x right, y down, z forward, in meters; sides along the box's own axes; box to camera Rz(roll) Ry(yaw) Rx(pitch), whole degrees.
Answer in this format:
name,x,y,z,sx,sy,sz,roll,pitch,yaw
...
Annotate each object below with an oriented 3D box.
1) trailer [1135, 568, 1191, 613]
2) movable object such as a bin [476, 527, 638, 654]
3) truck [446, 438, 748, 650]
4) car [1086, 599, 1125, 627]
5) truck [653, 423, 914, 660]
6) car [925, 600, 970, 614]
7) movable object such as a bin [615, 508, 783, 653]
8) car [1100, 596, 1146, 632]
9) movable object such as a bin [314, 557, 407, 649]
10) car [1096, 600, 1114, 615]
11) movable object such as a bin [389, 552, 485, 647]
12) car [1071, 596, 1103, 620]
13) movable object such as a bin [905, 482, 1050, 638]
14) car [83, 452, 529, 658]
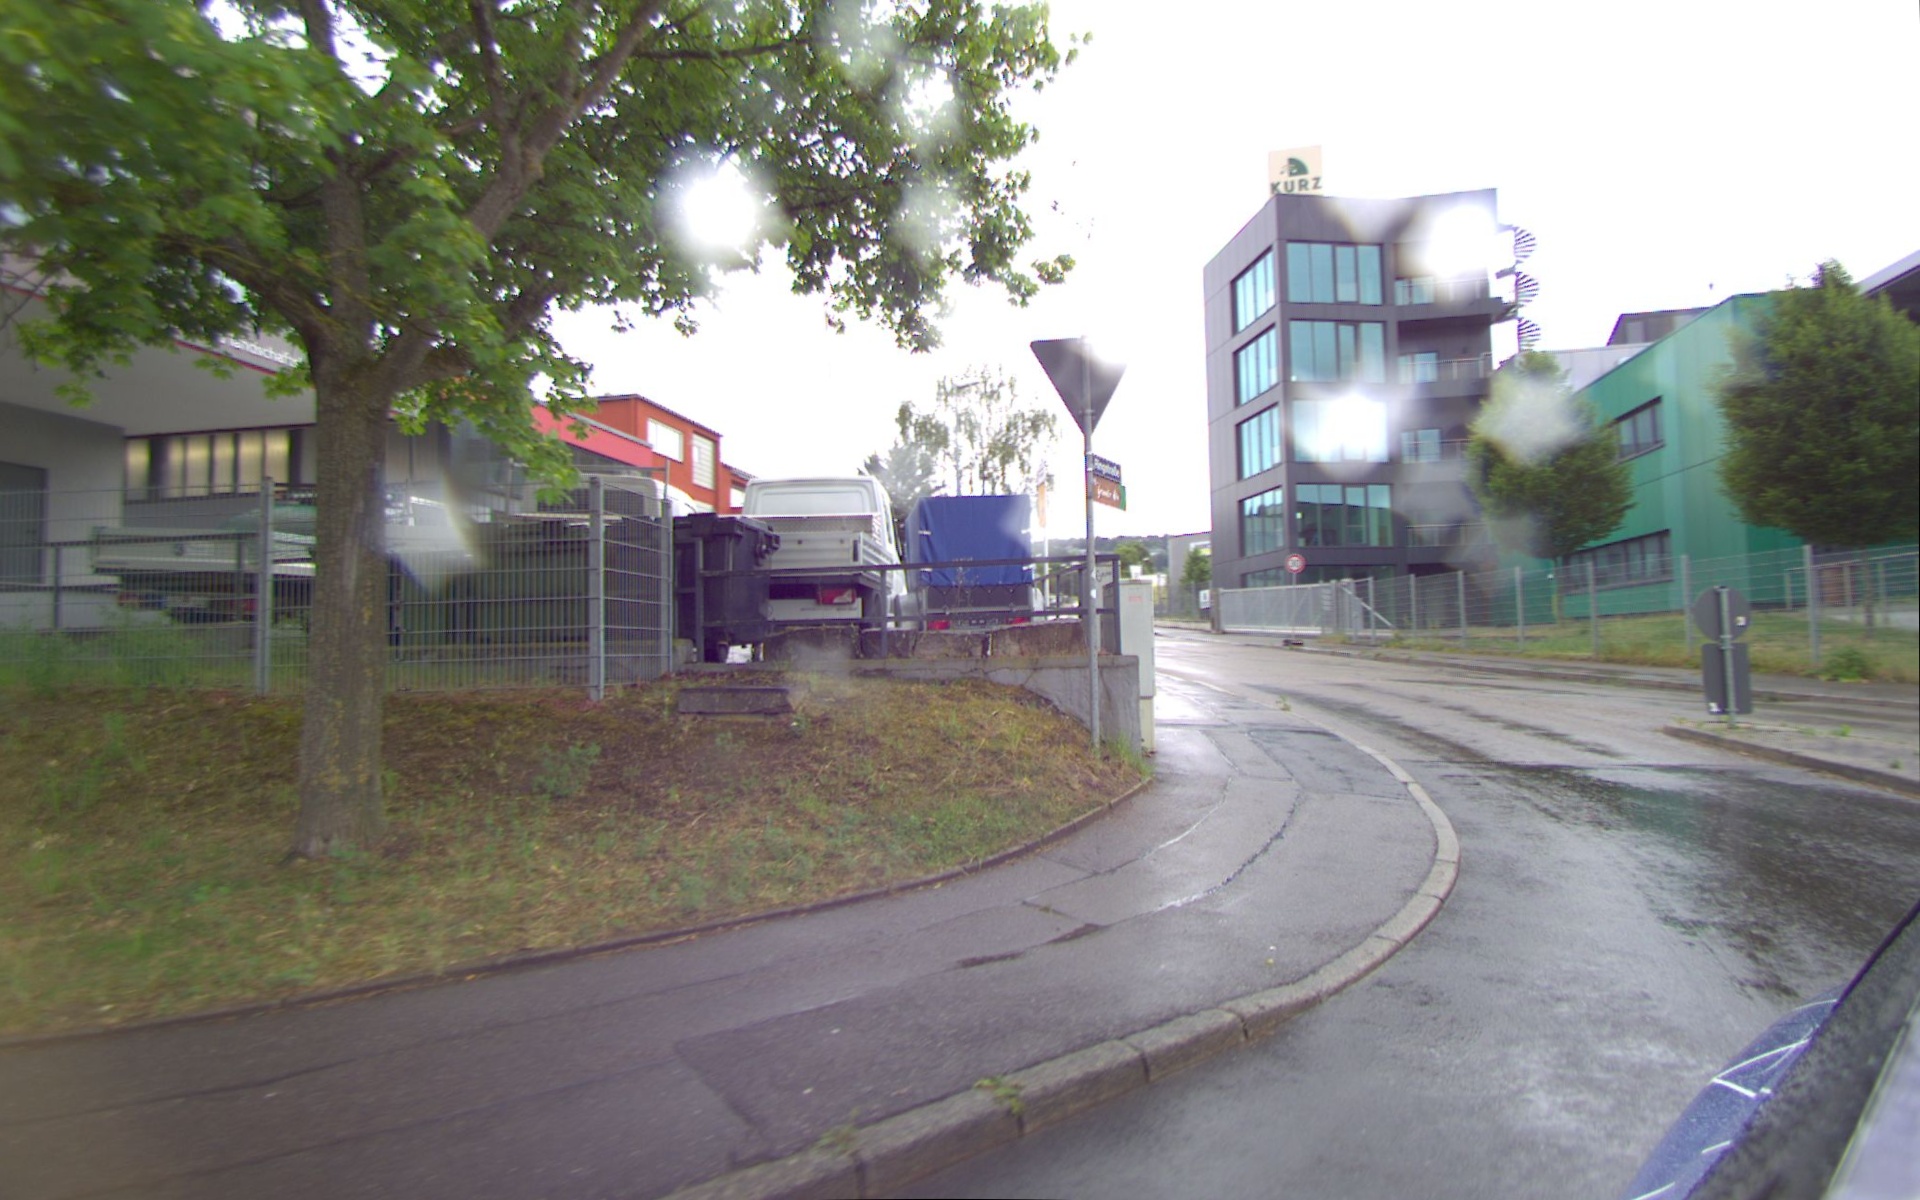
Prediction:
name,x,y,z,sx,sy,sz,roll,pitch,yaw
trailer,19.128,-0.855,95.438,2.347,4.141,4.693,0,0,-40
movable object such as a bin,-3.536,-0.076,8.942,1.036,1.056,0.881,0,0,10
truck,-4.606,-0.602,13.823,2.209,2.372,4.832,0,-1,3
car,8.426,0.751,59.026,1.606,1.578,4.084,0,0,-1
truck,-1.822,-0.556,12.492,2.073,2.242,5.649,0,0,2
car,-1.345,0.736,110.381,4.554,1.516,1.934,0,0,12
movable object such as a bin,-2.233,-0.153,8.796,1.123,1.177,1.025,0,0,8
car,8.675,0.718,54.112,1.711,1.820,3.959,0,0,-2
movable object such as a bin,-5.454,0.028,9.225,0.514,0.812,0.538,0,0,8
car,19.823,1.007,138.233,1.973,2.039,3.978,0,0,17
movable object such as a bin,-4.688,-0.006,9.091,0.557,0.828,0.538,0,0,8
car,8.797,0.543,70.205,1.708,1.555,4.248,-1,0,1
movable object such as a bin,0.123,-0.391,10.857,1.284,1.519,1.861,0,0,-7
car,-7.602,-0.439,12.557,2.027,2.039,4.930,0,0,6
